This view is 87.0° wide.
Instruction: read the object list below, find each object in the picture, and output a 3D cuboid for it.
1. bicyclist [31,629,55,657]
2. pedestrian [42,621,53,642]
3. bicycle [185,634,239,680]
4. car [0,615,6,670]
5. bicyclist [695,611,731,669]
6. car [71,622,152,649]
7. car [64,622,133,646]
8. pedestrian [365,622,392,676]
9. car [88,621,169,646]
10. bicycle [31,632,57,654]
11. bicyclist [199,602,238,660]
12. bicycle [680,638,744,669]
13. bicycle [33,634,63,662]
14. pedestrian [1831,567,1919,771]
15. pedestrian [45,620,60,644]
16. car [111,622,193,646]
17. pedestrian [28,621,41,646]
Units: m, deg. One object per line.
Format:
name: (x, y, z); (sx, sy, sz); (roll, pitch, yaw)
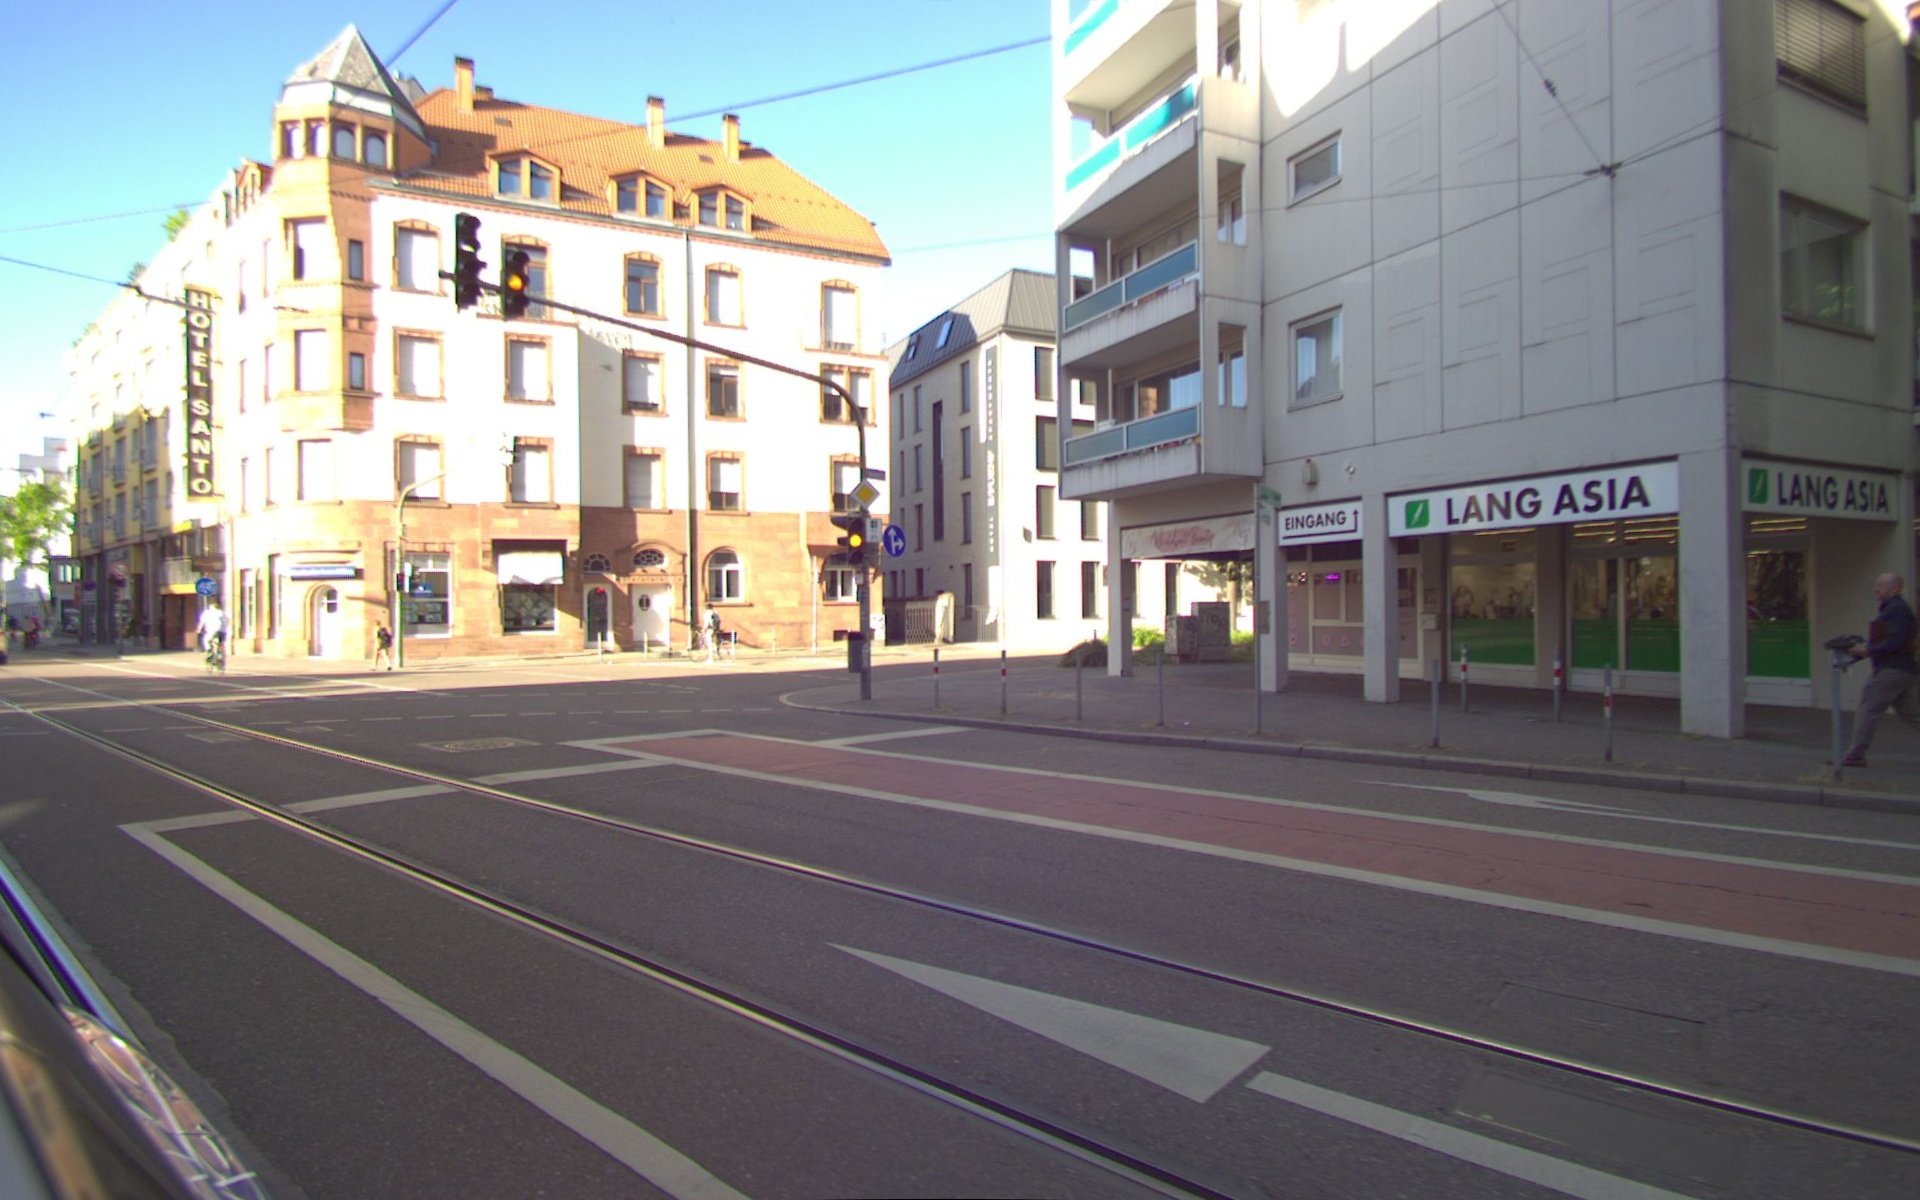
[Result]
bicyclist: (-47.615, 2.221, 52.536); (1.467, 1.391, 0.728); (-1, -2, 40)
pedestrian: (-72.298, 2.507, 80.159); (0.499, 1.629, 0.566); (-2, -2, 40)
bicycle: (-19.614, 1.469, 26.522); (2.082, 1.129, 0.685); (-1, -2, 40)
car: (-33.201, 1.410, 33.414); (4.559, 1.757, 1.973); (-1, -1, 40)
bicyclist: (-7.733, 1.244, 31.662); (0.961, 1.777, 0.615); (-1, -1, 1)
car: (-60.777, 2.493, 72.503); (1.784, 1.825, 4.189); (1, 0, 41)
car: (-63.335, 2.473, 74.431); (1.784, 1.685, 3.651); (-2, -1, 41)
pedestrian: (-17.184, 1.439, 29.904); (0.515, 1.564, 0.537); (-1, -1, 39)
car: (-58.560, 2.341, 71.358); (1.784, 1.621, 4.189); (-2, -1, 41)
bicycle: (-47.422, 2.226, 52.373); (2.059, 1.073, 0.723); (-1, -1, 39)
bicyclist: (-19.390, 0.795, 26.460); (0.778, 1.494, 0.675); (-2, -1, 40)
bicycle: (-7.742, 1.676, 31.653); (1.789, 0.916, 0.791); (-1, -1, 2)
bicycle: (-41.224, 2.151, 45.721); (2.060, 1.192, 0.723); (-1, -1, 40)
pedestrian: (8.590, 0.600, 9.075); (0.673, 1.779, 1.027); (0, -2, -39)
pedestrian: (-69.260, 2.440, 77.235); (0.777, 1.777, 0.708); (-1, -1, 32)
car: (-55.950, 2.310, 70.105); (1.784, 1.560, 4.189); (1, 0, 41)
pedestrian: (-73.122, 2.619, 79.968); (0.708, 1.961, 0.631); (-2, -2, 39)
